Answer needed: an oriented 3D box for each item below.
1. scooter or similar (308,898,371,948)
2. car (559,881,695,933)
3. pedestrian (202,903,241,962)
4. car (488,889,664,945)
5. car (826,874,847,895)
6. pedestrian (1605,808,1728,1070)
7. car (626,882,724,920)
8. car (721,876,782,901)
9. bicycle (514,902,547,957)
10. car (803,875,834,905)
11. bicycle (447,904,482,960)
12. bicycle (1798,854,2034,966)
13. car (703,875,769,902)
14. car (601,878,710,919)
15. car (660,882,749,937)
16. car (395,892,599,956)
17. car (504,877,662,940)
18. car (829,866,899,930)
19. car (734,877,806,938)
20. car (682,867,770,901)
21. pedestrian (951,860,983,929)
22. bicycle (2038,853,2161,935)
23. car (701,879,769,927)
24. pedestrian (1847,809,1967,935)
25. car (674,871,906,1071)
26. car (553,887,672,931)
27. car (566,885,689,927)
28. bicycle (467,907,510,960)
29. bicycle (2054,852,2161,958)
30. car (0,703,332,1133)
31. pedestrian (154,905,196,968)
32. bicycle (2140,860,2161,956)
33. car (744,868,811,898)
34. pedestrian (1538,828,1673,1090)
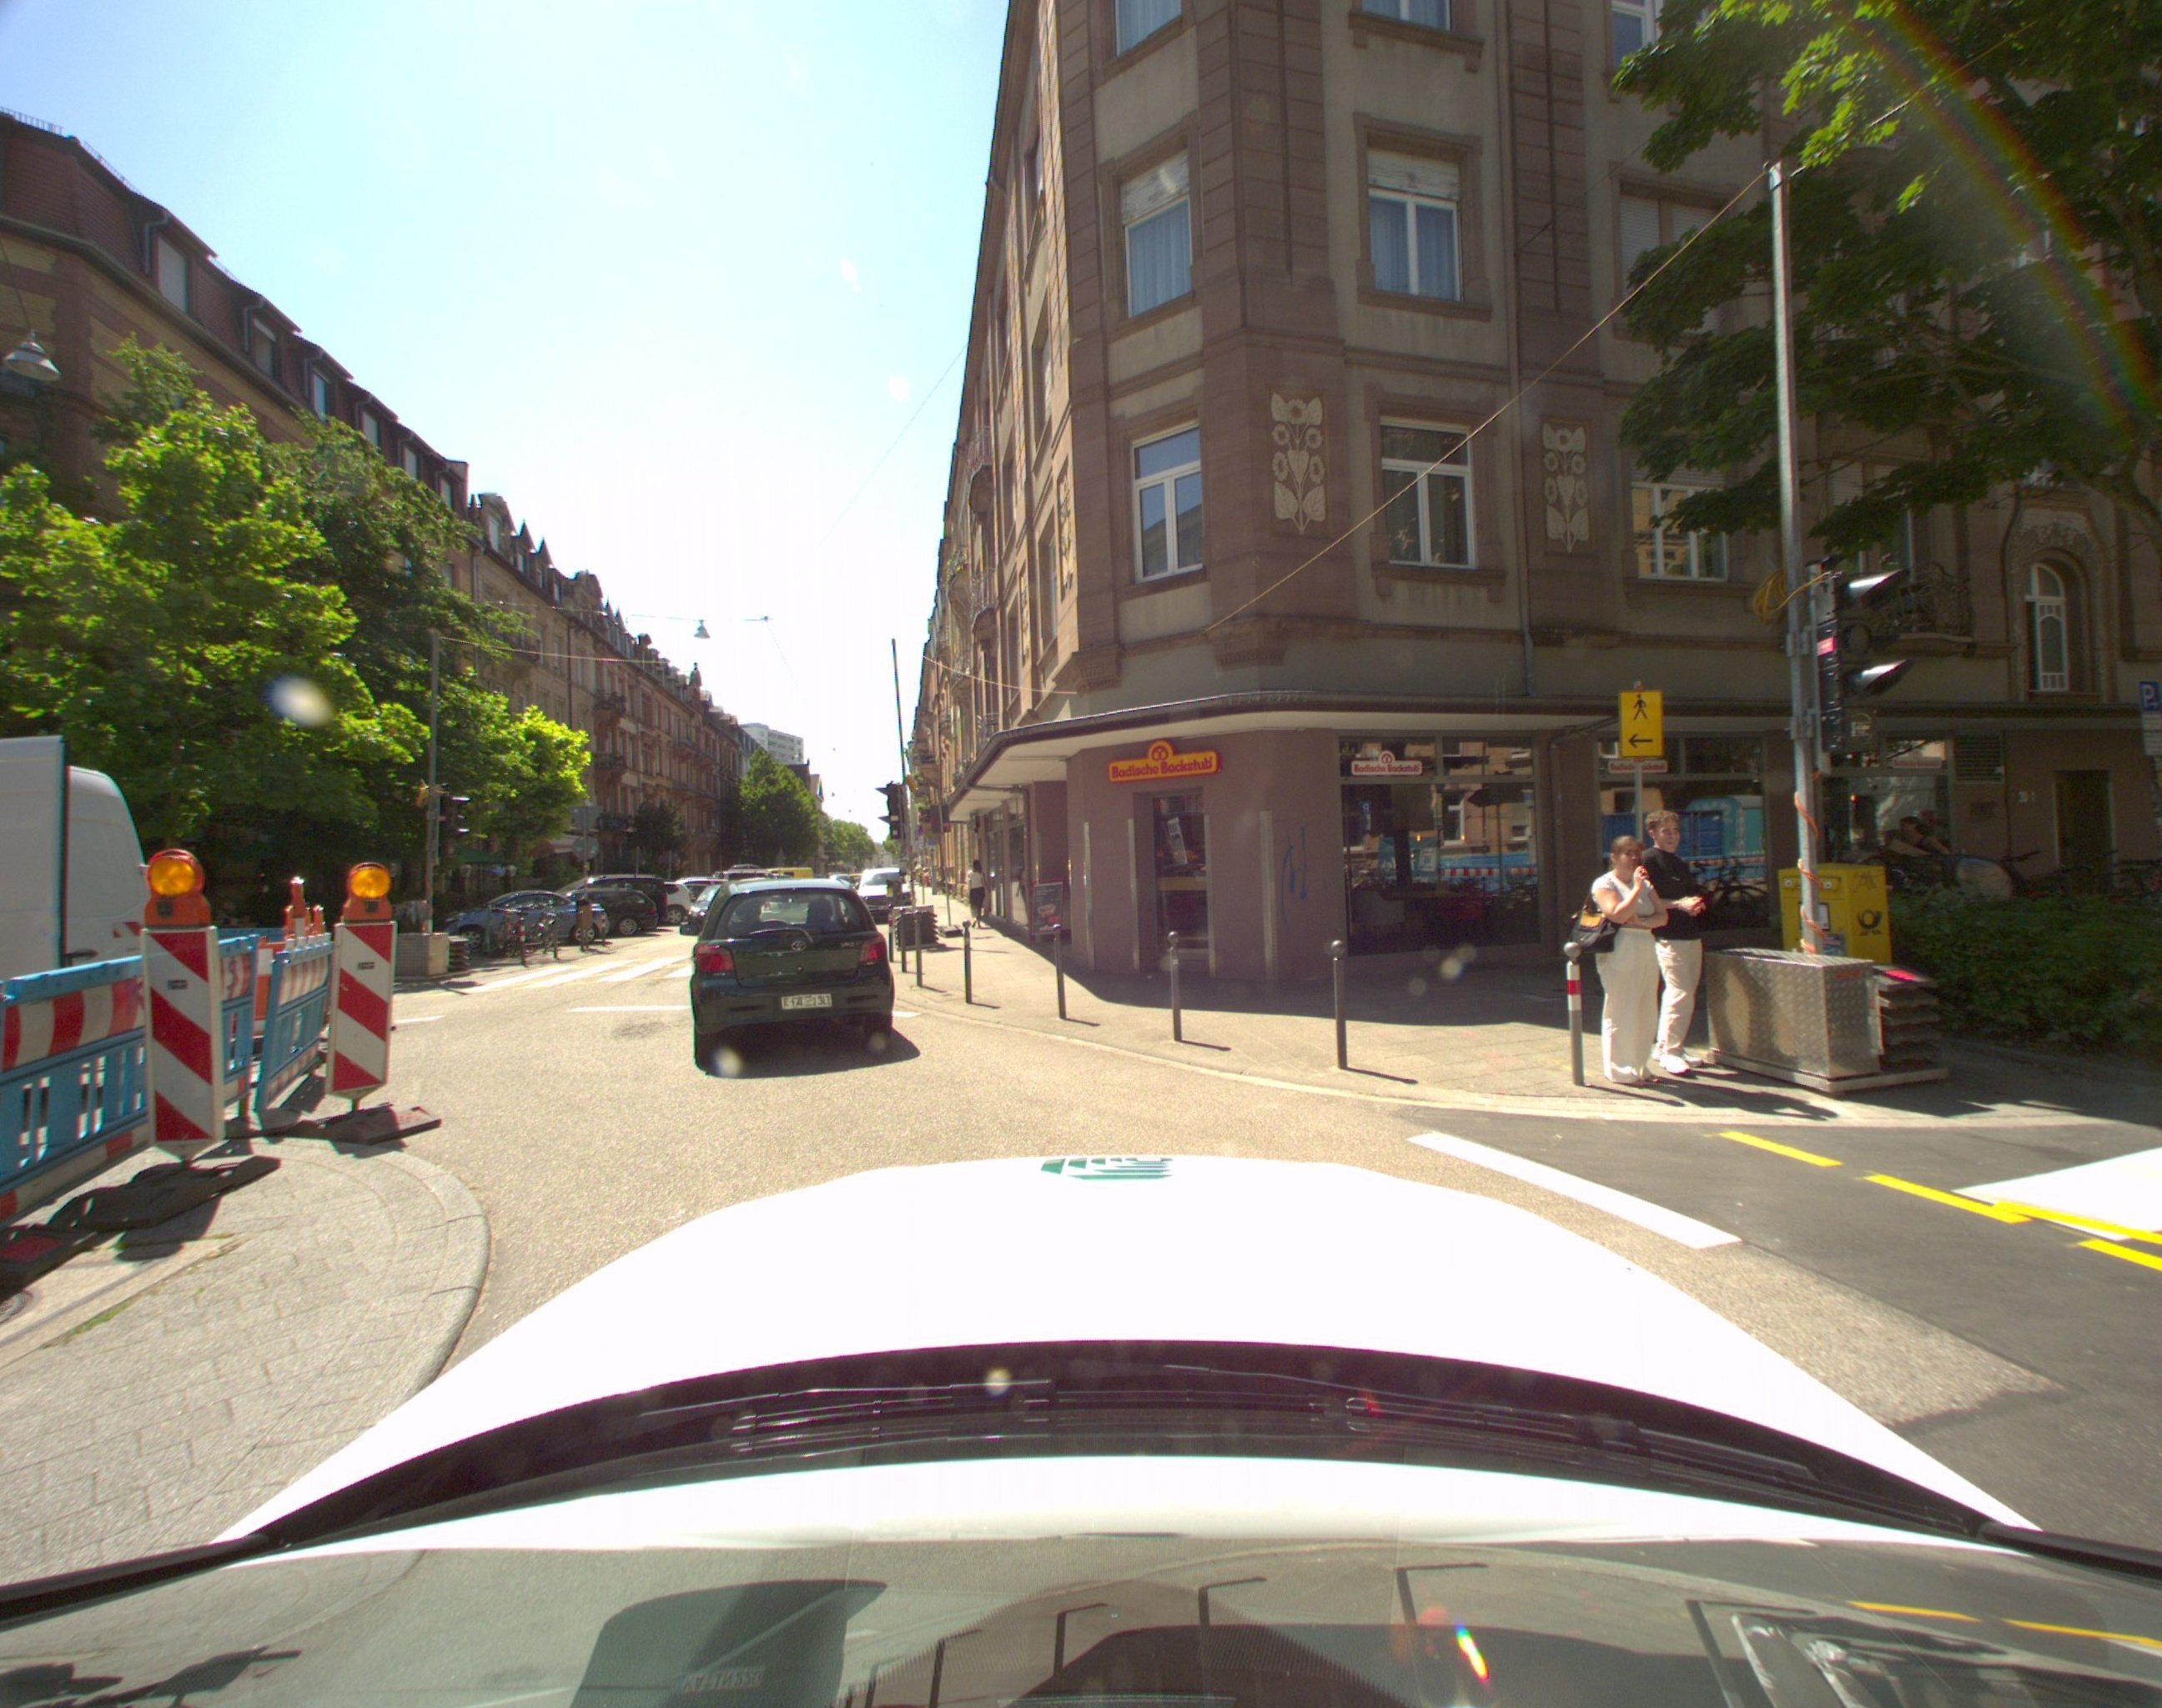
[{"bbox_3d":[-18.017,1.659,19.815,0.277,1.121,1.467,0,-1,-6],"label":"scooter or similar"},{"bbox_3d":[-16.115,1.823,28.985,4.018,1.658,1.740,0,-2,-38],"label":"car"},{"bbox_3d":[-18.666,1.697,17.684,0.591,1.220,0.561,-3,-2,41],"label":"pedestrian"},{"bbox_3d":[-14.773,1.781,23.958,1.946,1.412,4.024,-2,-2,44],"label":"car"},{"bbox_3d":[-19.764,2.416,65.893,1.525,1.592,3.246,-2,-1,-16],"label":"car"},{"bbox_3d":[4.205,0.569,5.858,0.577,1.768,0.468,-4,3,-23],"label":"pedestrian"},{"bbox_3d":[-19.786,2.257,39.739,3.942,1.619,1.844,-1,-1,-38],"label":"car"},{"bbox_3d":[-24.609,2.560,60.905,3.893,1.640,1.765,-1,-1,-38],"label":"car"},{"bbox_3d":[-12.996,1.753,19.240,0.493,1.173,1.668,0,-2,-29],"label":"bicycle"},{"bbox_3d":[-15.182,2.032,47.210,1.525,1.592,3.247,-2,-1,-15],"label":"car"},{"bbox_3d":[-13.830,1.725,18.285,0.339,1.157,1.606,0,-2,-27],"label":"bicycle"},{"bbox_3d":[9.219,0.605,9.035,1.972,1.132,0.517,-2,-1,3],"label":"bicycle"},{"bbox_3d":[-24.492,2.411,57.828,3.942,1.708,1.844,-1,-1,-38],"label":"car"},{"bbox_3d":[-19.102,1.981,36.693,1.841,1.619,3.948,-3,-1,35],"label":"car"},{"bbox_3d":[-11.700,1.670,25.561,1.757,1.444,3.980,-3,-1,-14],"label":"car"},{"bbox_3d":[-14.916,1.714,20.924,4.022,1.376,1.975,1,-2,-43],"label":"car"},{"bbox_3d":[-15.826,1.657,26.008,4.022,1.804,1.747,1,-2,-44],"label":"car"},{"bbox_3d":[-6.857,1.334,26.015,1.874,1.713,4.482,-4,-1,-14],"label":"car"},{"bbox_3d":[-8.780,1.465,23.210,1.525,1.521,3.247,-2,-1,-15],"label":"car"},{"bbox_3d":[-23.142,1.954,53.180,4.816,1.994,2.028,-1,-1,-43],"label":"car"},{"bbox_3d":[-2.786,0.983,19.889,0.642,1.623,0.800,-2,-1,-14],"label":"pedestrian"},{"bbox_3d":[13.821,0.521,11.033,1.728,0.996,0.501,-2,1,-19],"label":"bicycle"},{"bbox_3d":[-14.045,1.947,33.311,1.757,1.645,4.356,-5,0,-14],"label":"car"},{"bbox_3d":[11.318,0.237,11.183,0.858,1.634,0.783,-2,-1,-15],"label":"pedestrian"},{"bbox_3d":[-3.006,0.944,8.006,1.624,1.485,3.210,-1,-1,-29],"label":"car"},{"bbox_3d":[-17.493,2.023,30.481,3.649,1.458,1.606,1,-2,-40],"label":"car"},{"bbox_3d":[-18.449,2.093,33.254,1.841,1.470,3.948,-3,-1,37],"label":"car"},{"bbox_3d":[-13.480,1.784,18.569,0.493,1.081,1.882,0,-2,-27],"label":"bicycle"},{"bbox_3d":[11.977,0.551,9.317,1.765,1.080,0.468,-2,1,-19],"label":"bicycle"},{"bbox_3d":[-9.998,0.576,5.675,6.630,2.751,2.368,-3,-2,-14],"label":"car"},{"bbox_3d":[-18.525,1.666,16.653,0.591,1.220,0.561,-3,-2,41],"label":"pedestrian"},{"bbox_3d":[12.256,0.553,8.783,1.765,0.996,0.468,-2,1,-19],"label":"bicycle"},{"bbox_3d":[-24.284,2.296,65.253,4.597,2.187,1.976,-1,-1,-41],"label":"car"},{"bbox_3d":[3.545,0.663,5.508,0.704,1.645,0.420,-4,3,-23],"label":"pedestrian"}]
